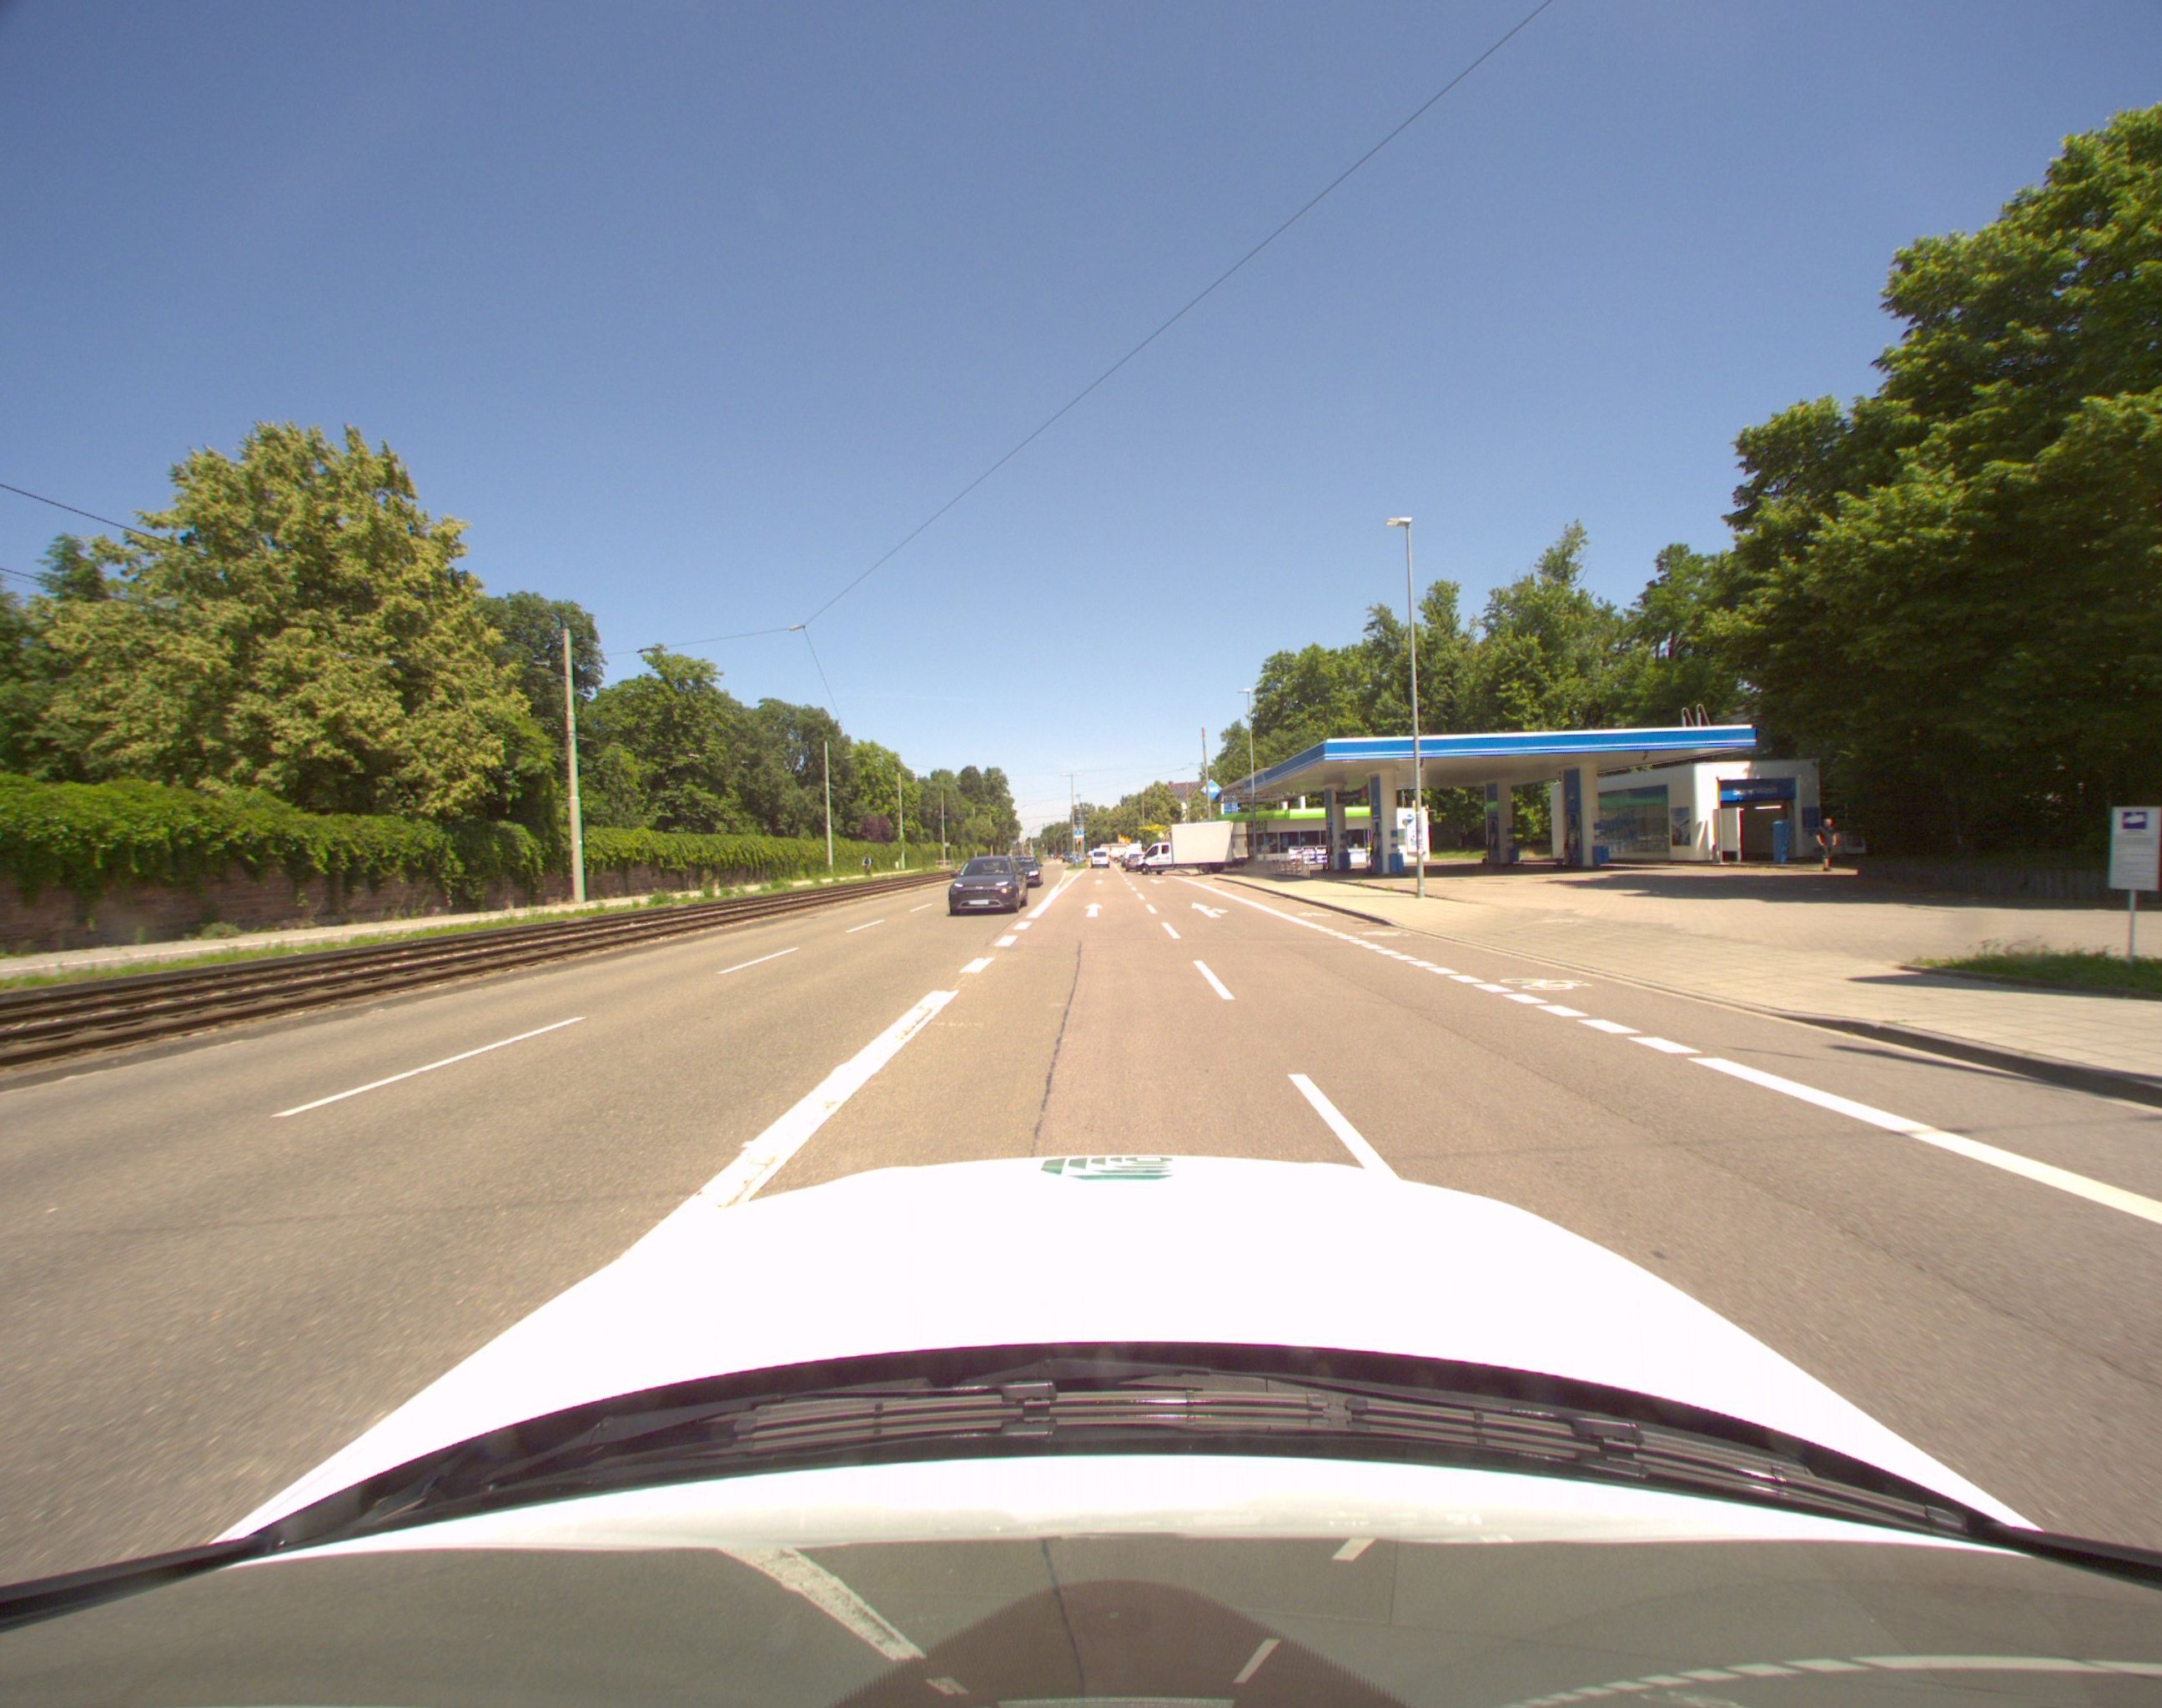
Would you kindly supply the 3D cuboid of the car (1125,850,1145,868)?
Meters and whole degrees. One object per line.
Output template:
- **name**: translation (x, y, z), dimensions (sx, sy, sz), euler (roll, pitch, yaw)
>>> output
- **car**: translation (4.591, 0.445, 69.777), dimensions (1.600, 1.451, 3.523), euler (-2, 0, 2)

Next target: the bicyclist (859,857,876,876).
- **bicyclist**: translation (-16.789, 0.977, 64.067), dimensions (0.991, 1.486, 1.000), euler (-2, 0, 0)

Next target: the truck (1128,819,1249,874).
- **truck**: translation (7.096, -0.448, 54.649), dimensions (7.731, 3.391, 2.443), euler (-2, 0, 37)

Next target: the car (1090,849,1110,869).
- **car**: translation (1.829, 0.427, 78.114), dimensions (1.860, 1.836, 3.849), euler (-1, 0, 0)

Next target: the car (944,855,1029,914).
- **car**: translation (-2.469, 0.789, 22.274), dimensions (1.707, 1.422, 4.143), euler (-2, -1, 1)

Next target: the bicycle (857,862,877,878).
- **bicycle**: translation (-16.795, 1.263, 63.917), dimensions (0.825, 1.156, 2.685), euler (-2, 0, 1)

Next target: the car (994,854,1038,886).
- **car**: translation (-2.980, 0.704, 38.130), dimensions (1.788, 1.399, 4.445), euler (-2, 0, -2)

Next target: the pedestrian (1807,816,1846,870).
- **pedestrian**: translation (26.807, -0.399, 29.289), dimensions (0.622, 1.888, 0.837), euler (-2, 1, 1)

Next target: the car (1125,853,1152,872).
- **car**: translation (4.514, 0.661, 64.343), dimensions (1.765, 1.420, 4.000), euler (-2, 0, 0)

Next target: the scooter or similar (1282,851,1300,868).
- **scooter or similar**: translation (14.375, 0.374, 55.751), dimensions (1.131, 1.176, 0.384), euler (-2, 0, 2)

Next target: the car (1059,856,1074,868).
- **car**: translation (-2.390, 1.248, 134.333), dimensions (1.991, 1.829, 4.530), euler (-2, 0, -6)

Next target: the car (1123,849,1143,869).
- **car**: translation (5.036, 0.440, 79.311), dimensions (1.704, 1.830, 4.015), euler (-2, 0, 2)

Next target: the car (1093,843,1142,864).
- **car**: translation (4.869, -0.066, 108.377), dimensions (6.142, 2.516, 2.721), euler (-2, 0, 41)
